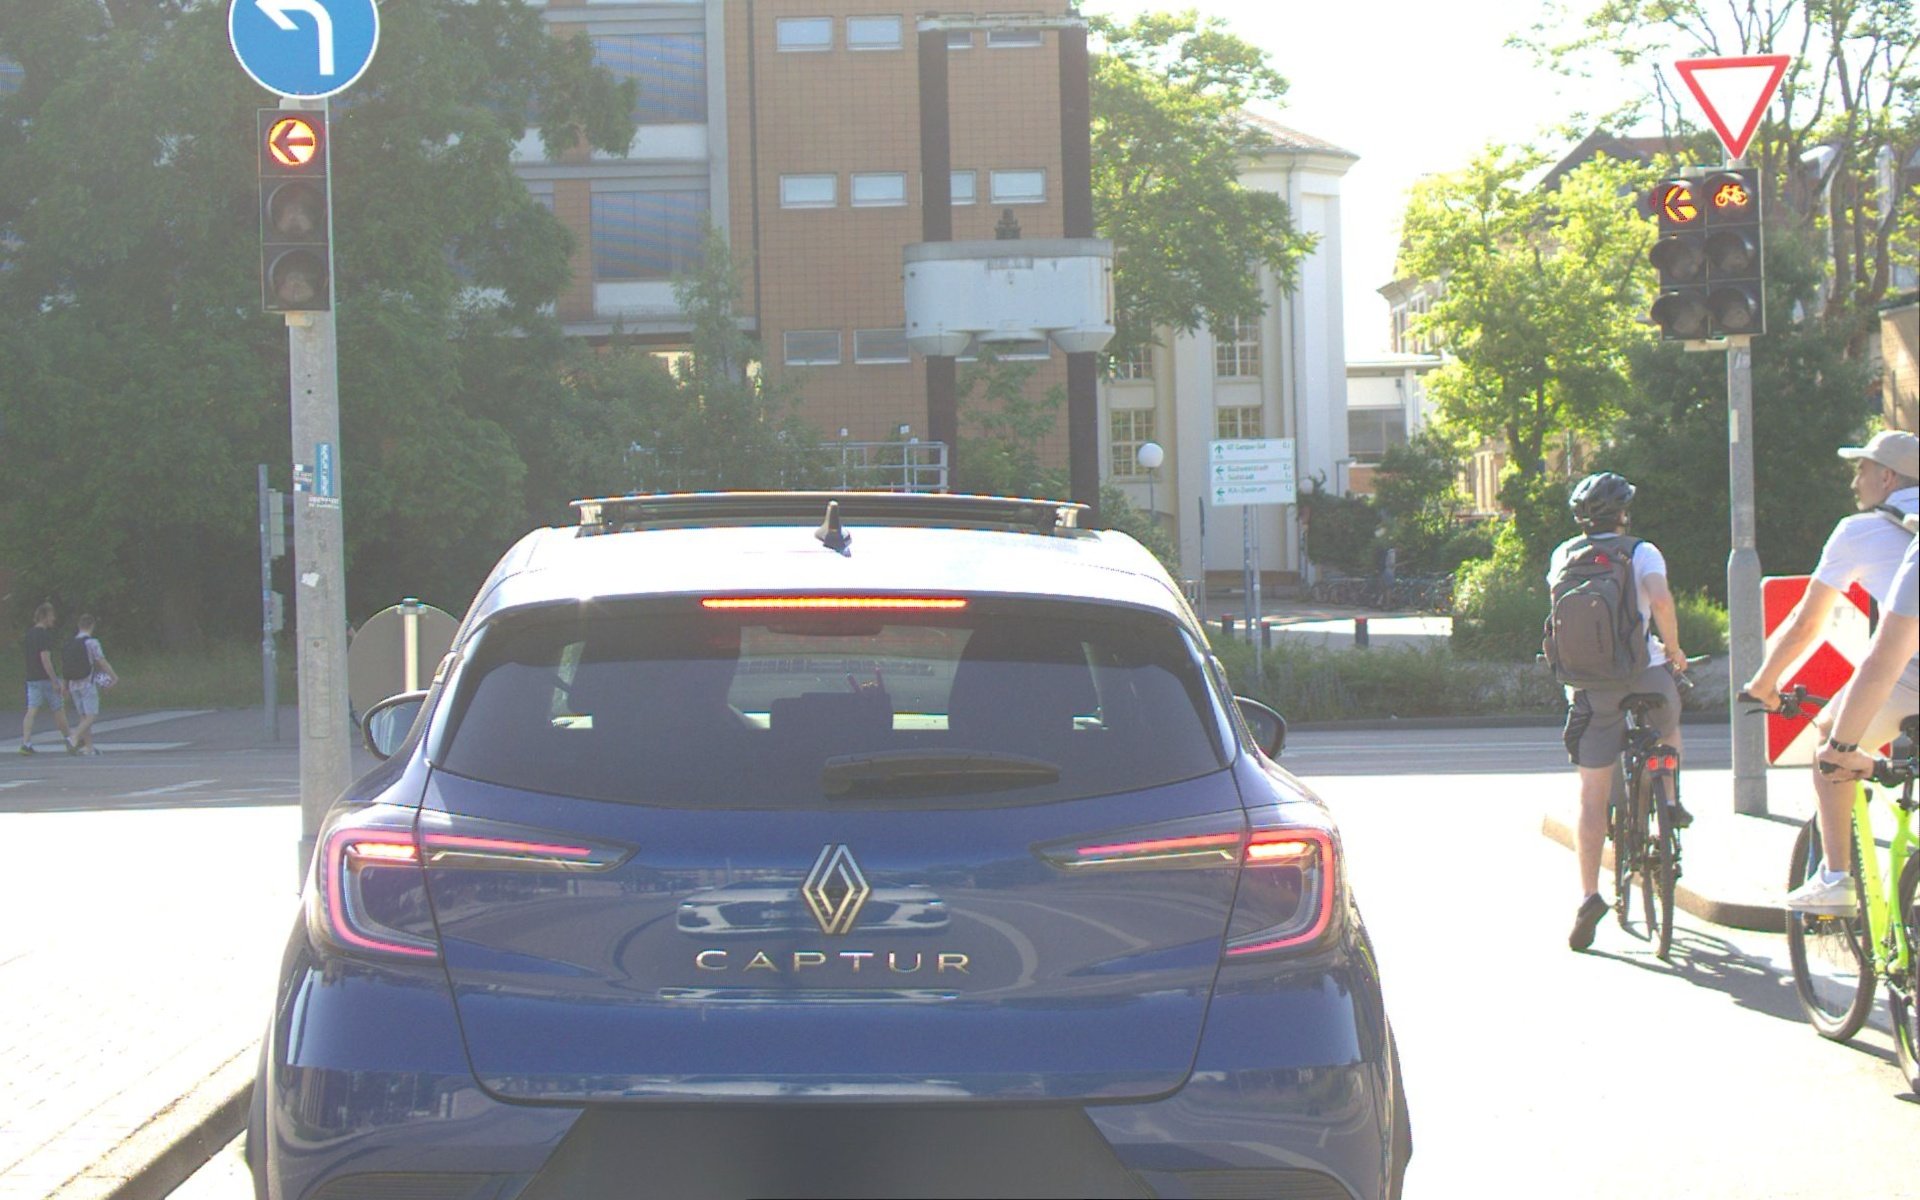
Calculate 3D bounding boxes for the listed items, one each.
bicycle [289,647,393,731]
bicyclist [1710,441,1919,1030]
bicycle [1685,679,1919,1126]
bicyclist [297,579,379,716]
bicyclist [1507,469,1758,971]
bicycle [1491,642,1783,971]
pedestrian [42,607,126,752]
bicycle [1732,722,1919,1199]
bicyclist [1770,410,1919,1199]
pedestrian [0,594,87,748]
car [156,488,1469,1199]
[{"bbox_3d":[-7.894,1.127,43.905,0.755,0.981,2.093,-1,1,5],"label":"bicycle"},{"bbox_3d":[2.619,0.358,9.845,0.678,1.589,1.142,0,1,-1],"label":"bicyclist"},{"bbox_3d":[2.635,0.804,9.844,0.689,1.085,1.922,0,1,-1],"label":"bicycle"},{"bbox_3d":[-7.916,0.598,43.795,0.755,1.710,0.998,-1,1,5],"label":"bicyclist"},{"bbox_3d":[2.485,0.421,12.802,0.699,1.785,1.142,0,1,-1],"label":"bicyclist"},{"bbox_3d":[2.485,0.725,12.821,0.689,1.085,1.922,0,1,-1],"label":"bicycle"},{"bbox_3d":[-10.651,0.962,41.825,0.681,1.724,0.760,-1,1,13],"label":"pedestrian"},{"bbox_3d":[2.225,0.850,7.363,0.689,1.085,1.922,0,1,-1],"label":"bicycle"},{"bbox_3d":[2.225,0.507,7.394,0.683,1.785,1.142,0,1,-1],"label":"bicyclist"},{"bbox_3d":[-11.372,0.865,42.370,0.814,1.856,0.909,-1,1,13],"label":"pedestrian"},{"bbox_3d":[-0.278,0.615,6.649,1.788,1.580,3.915,0,1,-2],"label":"car"}]
